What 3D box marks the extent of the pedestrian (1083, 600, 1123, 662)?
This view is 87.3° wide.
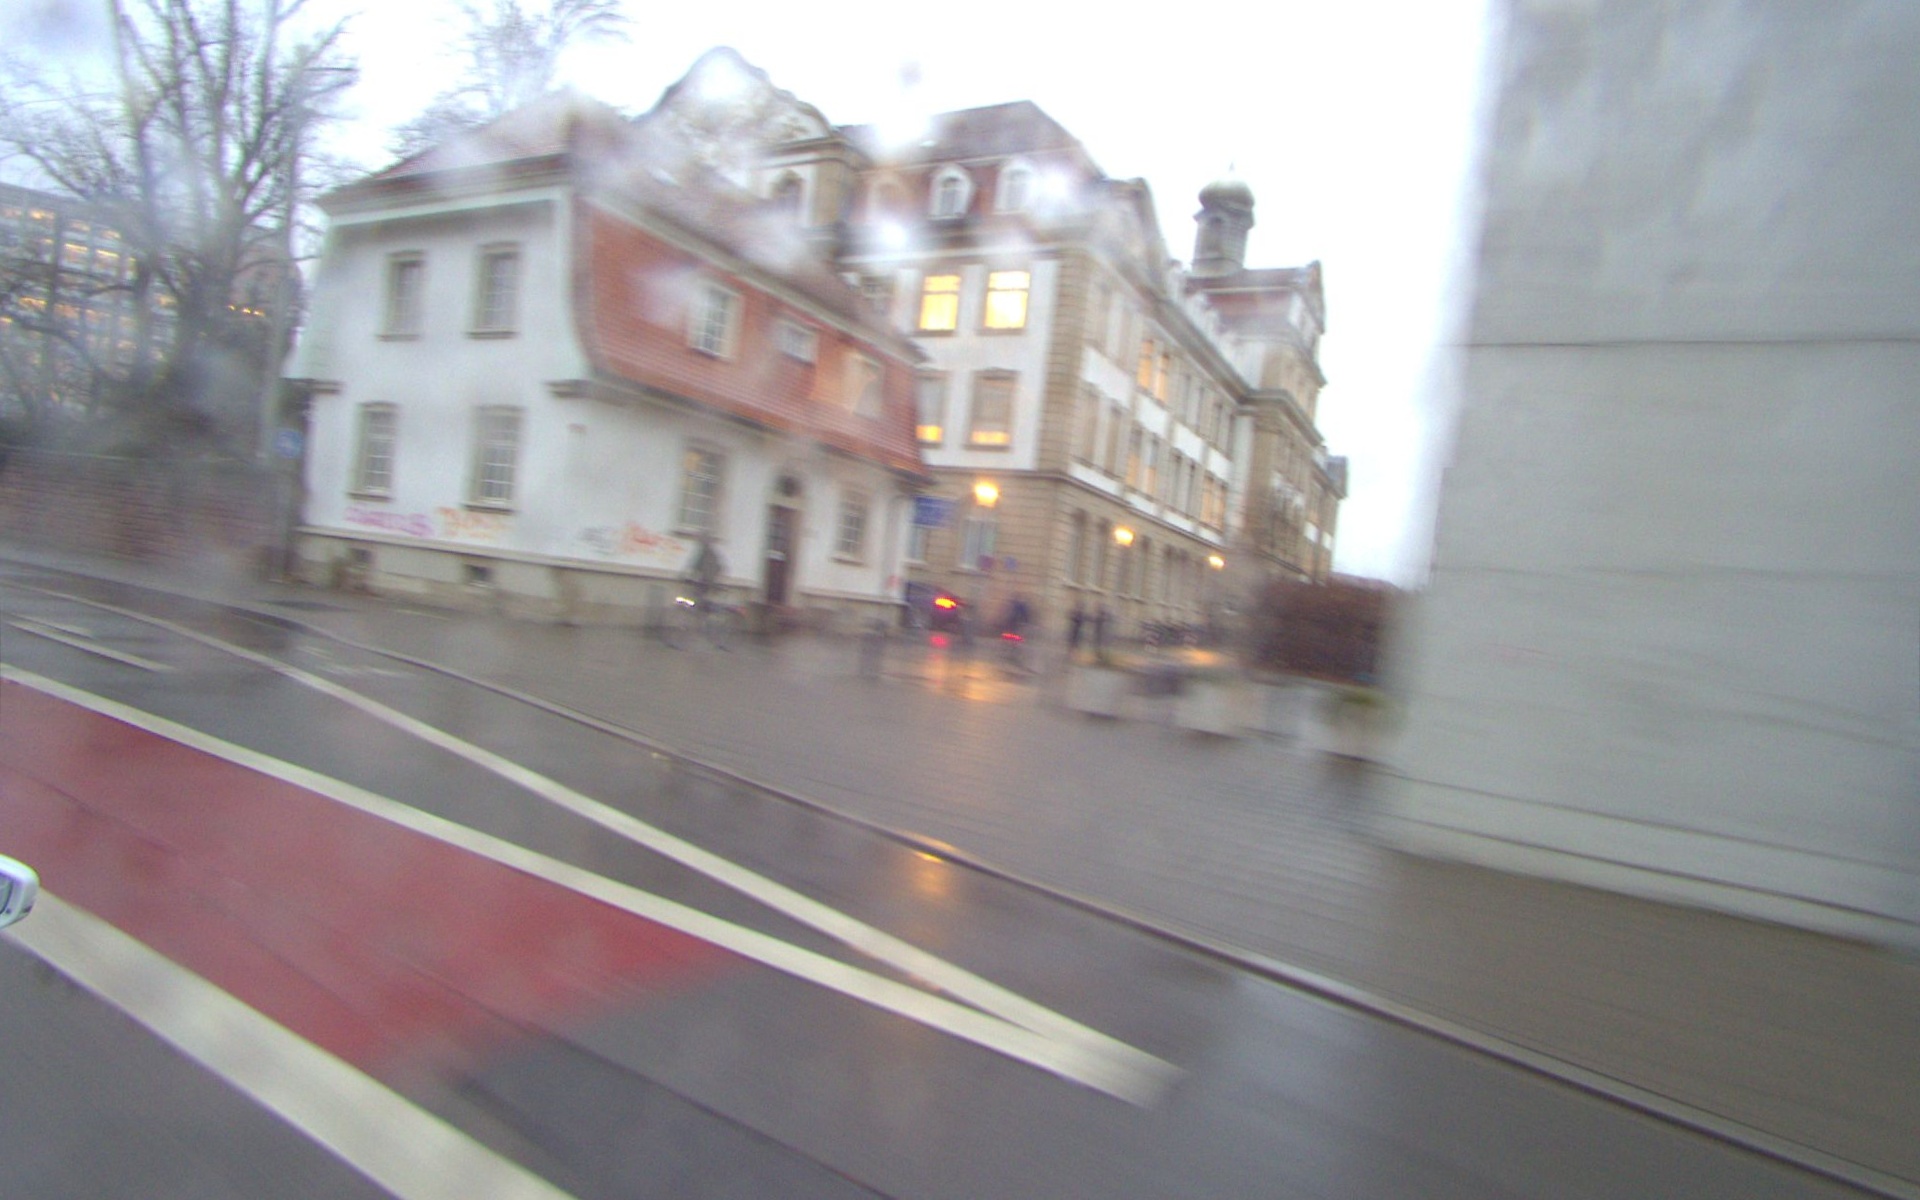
[{"bbox_3d":[4.153,0.909,29.225,0.735,1.705,0.778,8,2,30],"label":"pedestrian"}]

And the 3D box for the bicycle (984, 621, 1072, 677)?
[{"bbox_3d":[1.474,1.059,21.515,0.890,0.957,2.016,6,-3,34],"label":"bicycle"}]

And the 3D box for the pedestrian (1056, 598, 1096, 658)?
[{"bbox_3d":[3.410,0.832,29.615,0.735,1.665,0.778,8,2,30],"label":"pedestrian"}]

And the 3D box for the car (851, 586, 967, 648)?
[{"bbox_3d":[-1.838,0.596,36.088,3.615,1.681,1.756,7,-2,31],"label":"car"}]

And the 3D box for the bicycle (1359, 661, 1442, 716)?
[{"bbox_3d":[9.619,1.928,21.983,1.529,0.992,0.407,6,0,32],"label":"bicycle"}]

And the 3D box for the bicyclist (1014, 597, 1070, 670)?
[{"bbox_3d":[1.779,0.734,21.801,0.725,1.426,0.860,7,-2,34],"label":"bicyclist"}]

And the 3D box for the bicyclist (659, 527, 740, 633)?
[{"bbox_3d":[-4.294,-0.318,16.584,0.768,1.615,0.854,7,1,33],"label":"bicyclist"}]

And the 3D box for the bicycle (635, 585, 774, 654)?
[{"bbox_3d":[-4.213,0.347,16.763,0.929,0.956,2.117,7,0,32],"label":"bicycle"}]
